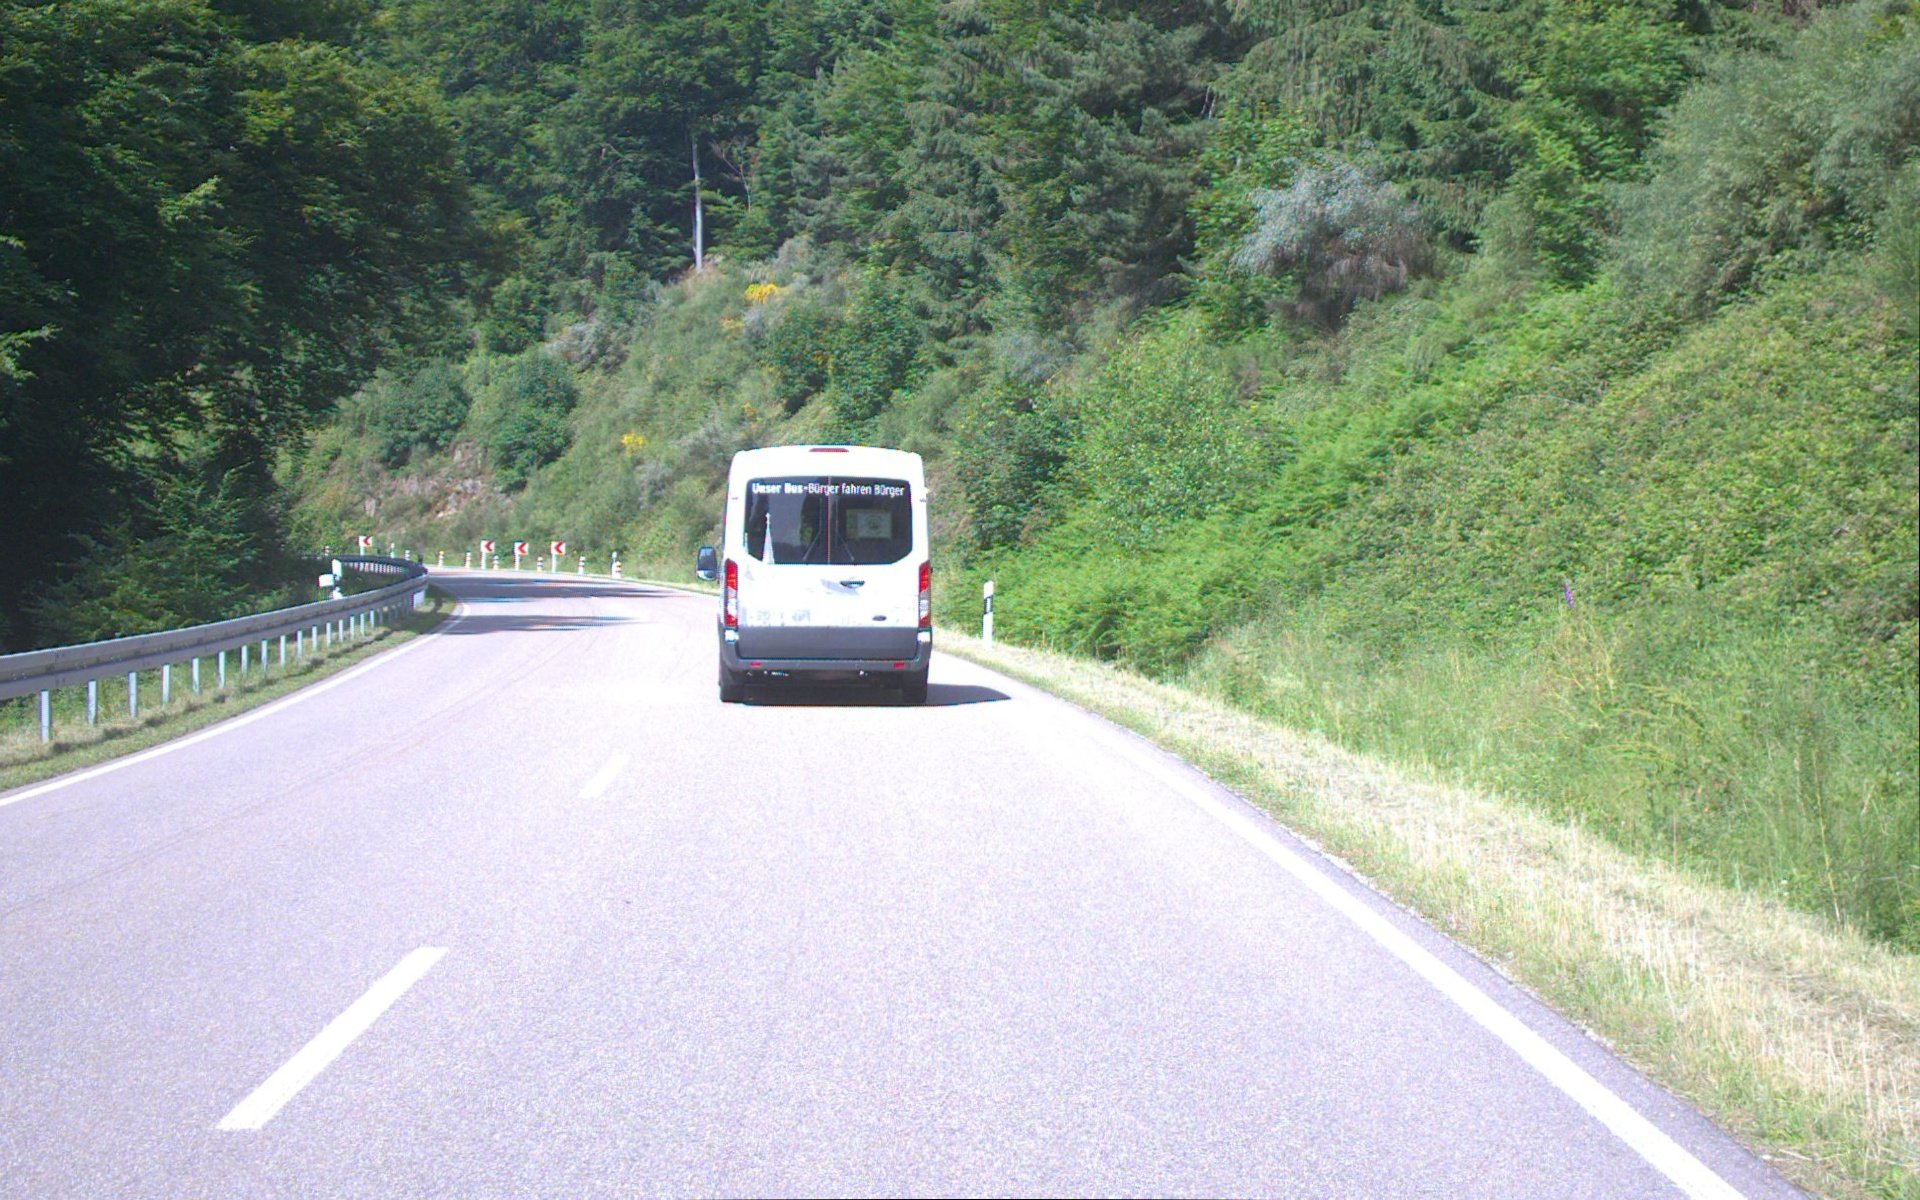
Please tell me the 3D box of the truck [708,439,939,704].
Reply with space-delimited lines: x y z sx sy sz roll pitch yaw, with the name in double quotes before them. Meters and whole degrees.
"truck" -1.442 -0.316 34.325 2.083 2.451 4.876 0 1 -5
